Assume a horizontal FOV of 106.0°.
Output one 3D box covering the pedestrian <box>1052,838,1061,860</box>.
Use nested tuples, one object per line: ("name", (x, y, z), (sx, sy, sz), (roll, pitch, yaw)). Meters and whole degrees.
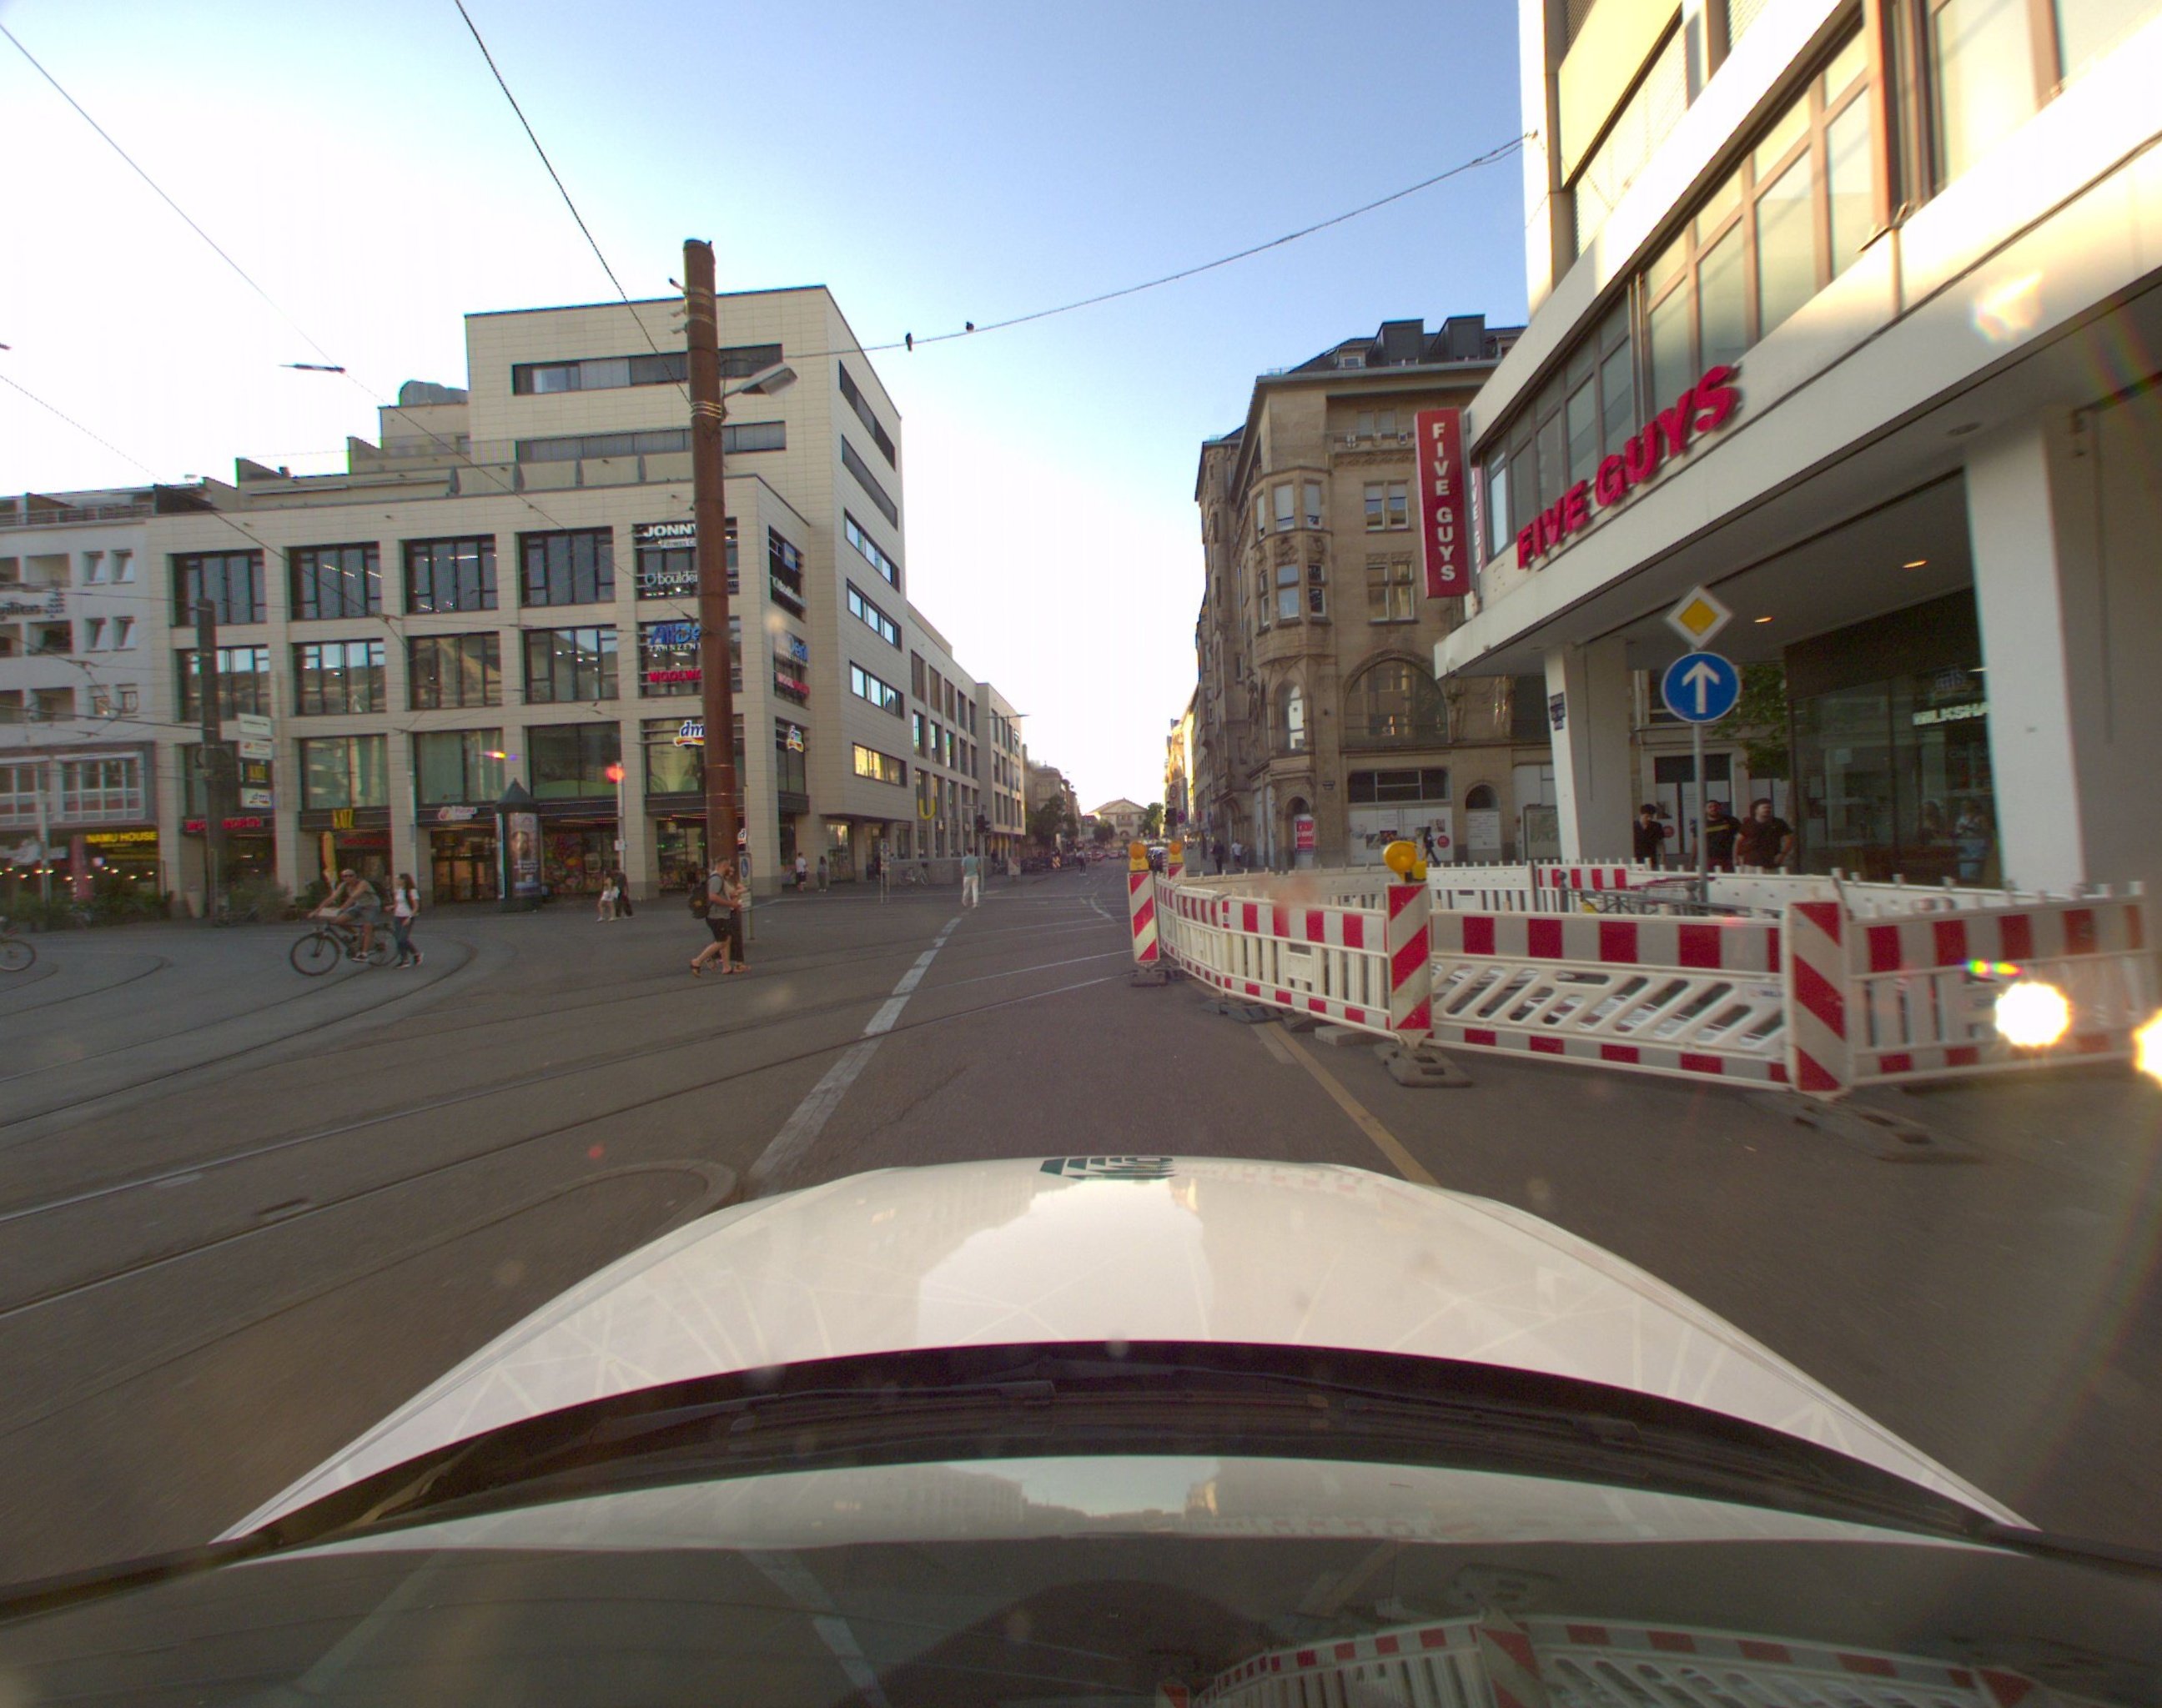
("pedestrian", (-2.106, -0.434, 71.032), (0.656, 1.823, 0.527), (-2, 0, -7))

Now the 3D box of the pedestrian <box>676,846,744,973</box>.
("pedestrian", (-5.200, 0.754, 11.452), (0.746, 1.700, 0.606), (-2, 0, -18))

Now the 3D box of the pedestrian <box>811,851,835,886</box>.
("pedestrian", (-12.300, 0.677, 38.854), (0.760, 1.659, 0.820), (-1, 0, 18))

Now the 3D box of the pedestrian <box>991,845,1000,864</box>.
("pedestrian", (-7.424, 0.064, 70.652), (0.677, 1.621, 0.574), (-2, 0, 3))

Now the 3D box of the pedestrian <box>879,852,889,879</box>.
("pedestrian", (-11.264, 0.653, 46.553), (0.388, 1.515, 0.506), (-2, 0, 3))

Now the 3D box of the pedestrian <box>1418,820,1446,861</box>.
("pedestrian", (14.154, -0.532, 32.842), (0.816, 1.611, 0.714), (-1, 0, 3))

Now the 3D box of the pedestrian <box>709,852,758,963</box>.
("pedestrian", (-5.141, 0.774, 12.058), (0.571, 1.593, 0.446), (-2, 0, -18))

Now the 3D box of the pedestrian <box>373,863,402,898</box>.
("pedestrian", (-34.215, 1.305, 40.193), (0.810, 1.680, 0.685), (-1, 0, 5))

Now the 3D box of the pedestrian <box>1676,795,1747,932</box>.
("pedestrian", (9.617, 0.139, 12.426), (0.520, 2.013, 0.772), (-1, 0, -45))

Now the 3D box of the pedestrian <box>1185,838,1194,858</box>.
("pedestrian", (9.624, -0.519, 72.182), (0.641, 1.689, 0.671), (-2, 0, 2))

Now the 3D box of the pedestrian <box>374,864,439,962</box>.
("pedestrian", (-11.962, 1.036, 14.454), (0.644, 1.674, 0.532), (-2, 0, 12))

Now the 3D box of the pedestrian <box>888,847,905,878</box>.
("pedestrian", (-10.580, 0.476, 46.663), (0.779, 1.751, 0.600), (-1, 0, 1))

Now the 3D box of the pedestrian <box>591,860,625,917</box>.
("pedestrian", (-14.363, 1.044, 24.741), (0.526, 1.674, 0.651), (-2, 0, 5))

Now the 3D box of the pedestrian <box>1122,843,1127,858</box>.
("pedestrian", (5.476, -0.447, 102.502), (0.598, 1.823, 0.451), (-2, 0, -7))

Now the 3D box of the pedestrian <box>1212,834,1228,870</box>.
("pedestrian", (6.817, -0.105, 39.915), (0.622, 1.689, 0.671), (-2, 0, 2))

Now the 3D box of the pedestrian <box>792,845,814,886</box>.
("pedestrian", (-12.861, 0.537, 37.678), (0.568, 1.854, 0.820), (-1, 0, 16))

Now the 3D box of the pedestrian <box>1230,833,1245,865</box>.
("pedestrian", (8.289, -0.263, 43.228), (0.622, 1.689, 0.671), (-2, 0, 2))

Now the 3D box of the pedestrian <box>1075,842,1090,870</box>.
("pedestrian", (0.071, 0.124, 49.863), (0.832, 1.720, 0.681), (-2, 0, -4))

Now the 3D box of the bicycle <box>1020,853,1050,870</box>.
("bicycle", (-3.158, 0.488, 55.597), (1.977, 1.121, 0.553), (-1, 0, -25))

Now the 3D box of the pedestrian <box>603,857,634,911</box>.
("pedestrian", (-14.741, 0.946, 25.952), (0.526, 1.674, 0.651), (-2, 0, 5))

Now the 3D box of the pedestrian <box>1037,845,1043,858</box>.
("pedestrian", (-5.440, -0.335, 109.118), (0.677, 1.621, 0.574), (-2, 0, 3))

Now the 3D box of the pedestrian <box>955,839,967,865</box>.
("pedestrian", (-7.790, -0.137, 53.002), (0.678, 1.680, 0.600), (-1, 0, 1))

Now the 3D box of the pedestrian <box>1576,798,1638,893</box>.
("pedestrian", (10.033, -0.157, 15.539), (0.721, 1.769, 0.668), (-1, 0, -10))

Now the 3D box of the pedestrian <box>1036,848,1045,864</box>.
("pedestrian", (-3.927, 0.220, 78.906), (0.748, 1.529, 0.485), (-2, 0, 3))

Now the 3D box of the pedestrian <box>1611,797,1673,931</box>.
("pedestrian", (8.759, 0.150, 12.718), (0.474, 2.013, 0.699), (-1, 0, -45))

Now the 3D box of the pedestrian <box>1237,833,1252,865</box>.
("pedestrian", (8.787, -0.266, 43.859), (0.622, 1.689, 0.626), (-2, 0, 2))

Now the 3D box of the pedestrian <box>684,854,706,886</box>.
("pedestrian", (-19.122, 0.796, 40.324), (0.568, 1.526, 0.794), (-1, 0, 16))

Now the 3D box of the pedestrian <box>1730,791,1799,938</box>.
("pedestrian", (9.743, 0.142, 11.614), (0.474, 2.013, 0.699), (-1, 0, -45))

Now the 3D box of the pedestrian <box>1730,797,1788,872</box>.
("pedestrian", (16.042, -0.445, 19.280), (0.773, 1.735, 0.714), (-1, 0, 3))

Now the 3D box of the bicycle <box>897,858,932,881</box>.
("bicycle", (-8.497, 0.784, 41.563), (1.687, 1.121, 0.452), (-1, 0, 6))

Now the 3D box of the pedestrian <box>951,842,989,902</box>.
("pedestrian", (-3.325, 0.539, 24.471), (0.859, 1.761, 0.771), (-1, 0, 16))
